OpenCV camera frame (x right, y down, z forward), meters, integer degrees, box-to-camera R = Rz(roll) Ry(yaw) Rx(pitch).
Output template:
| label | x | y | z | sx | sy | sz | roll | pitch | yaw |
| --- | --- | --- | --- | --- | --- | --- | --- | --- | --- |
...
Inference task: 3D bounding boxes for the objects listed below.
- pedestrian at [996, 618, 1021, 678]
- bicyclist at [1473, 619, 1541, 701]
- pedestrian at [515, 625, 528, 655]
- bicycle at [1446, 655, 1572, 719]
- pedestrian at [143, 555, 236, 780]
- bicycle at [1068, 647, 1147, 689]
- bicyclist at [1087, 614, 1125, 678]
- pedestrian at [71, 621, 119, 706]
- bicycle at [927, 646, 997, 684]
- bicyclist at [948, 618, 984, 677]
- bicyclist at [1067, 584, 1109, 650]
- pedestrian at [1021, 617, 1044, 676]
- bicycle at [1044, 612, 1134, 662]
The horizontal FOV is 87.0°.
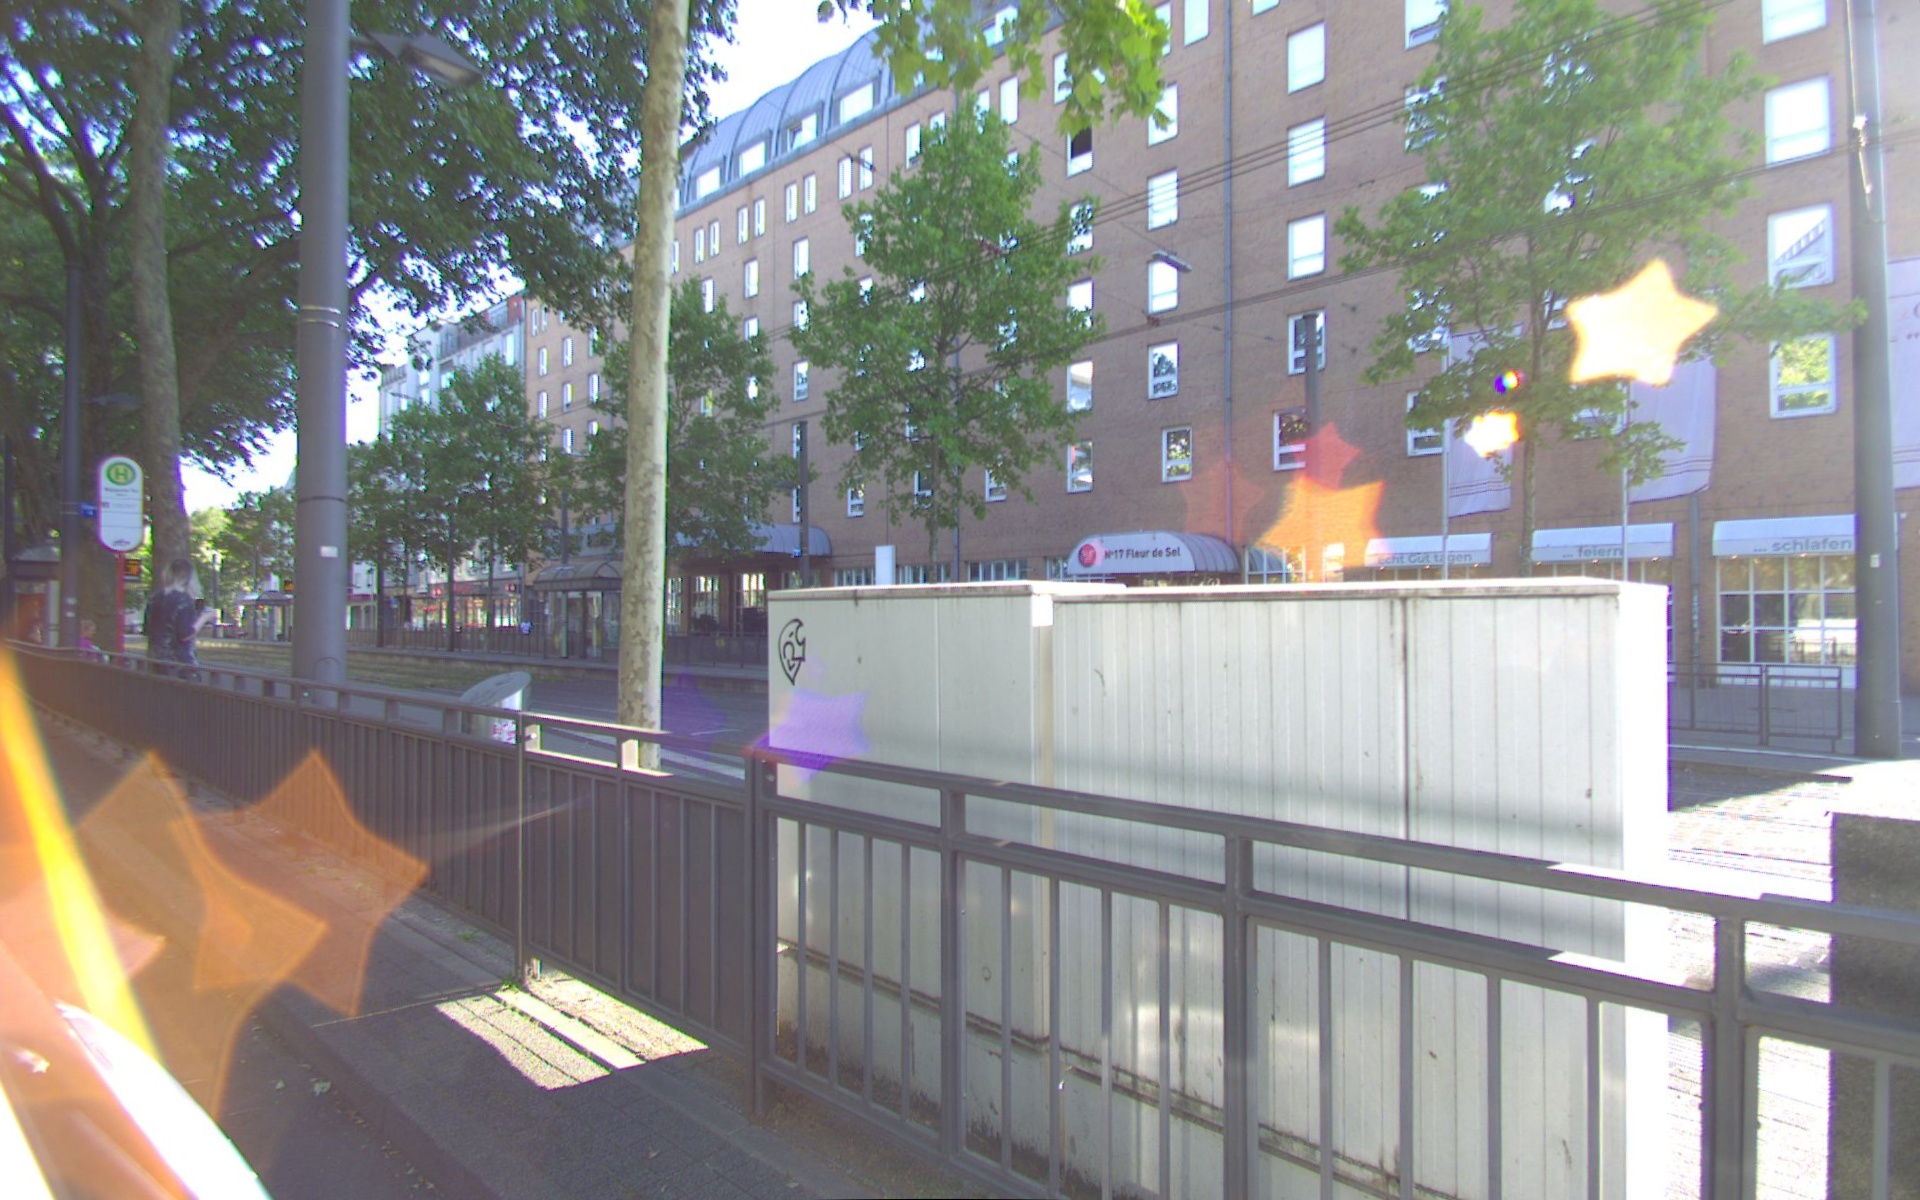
| label | x | y | z | sx | sy | sz | roll | pitch | yaw |
| --- | --- | --- | --- | --- | --- | --- | --- | --- | --- |
| pedestrian | 1.431 | 1.403 | 29.928 | 0.472 | 1.748 | 0.545 | 1 | -2 | -42 |
| bicyclist | 10.247 | 1.099 | 18.968 | 1.031 | 1.485 | 0.647 | -1 | -1 | 36 |
| pedestrian | -25.854 | 2.351 | 59.646 | 0.574 | 1.748 | 0.497 | -2 | -2 | 43 |
| bicycle | 10.265 | 1.603 | 18.962 | 2.009 | 1.058 | 0.646 | -1 | -1 | 37 |
| pedestrian | -6.600 | 0.552 | 8.668 | 0.524 | 1.848 | 0.535 | -1 | 0 | 44 |
| bicycle | 3.724 | 1.699 | 25.692 | 1.897 | 1.006 | 0.647 | -1 | -2 | 34 |
| bicyclist | 3.704 | 1.158 | 25.713 | 0.756 | 1.586 | 0.655 | -1 | -2 | 34 |
| pedestrian | -13.997 | 1.013 | 16.385 | 0.534 | 1.327 | 0.525 | -1 | 0 | -37 |
| bicycle | 0.047 | 1.790 | 28.133 | 1.897 | 1.006 | 0.688 | -1 | -2 | 34 |
| bicyclist | 0.170 | 1.307 | 28.026 | 0.756 | 1.581 | 0.655 | -1 | -2 | 34 |
| bicyclist | 3.169 | 0.429 | 25.104 | 0.756 | 1.572 | 0.676 | -4 | -4 | 33 |
| pedestrian | 2.192 | 1.394 | 30.493 | 0.437 | 1.748 | 0.545 | 1 | -2 | -42 |
| bicycle | 3.175 | 0.924 | 25.088 | 2.105 | 1.151 | 0.679 | -4 | -4 | 34 |
